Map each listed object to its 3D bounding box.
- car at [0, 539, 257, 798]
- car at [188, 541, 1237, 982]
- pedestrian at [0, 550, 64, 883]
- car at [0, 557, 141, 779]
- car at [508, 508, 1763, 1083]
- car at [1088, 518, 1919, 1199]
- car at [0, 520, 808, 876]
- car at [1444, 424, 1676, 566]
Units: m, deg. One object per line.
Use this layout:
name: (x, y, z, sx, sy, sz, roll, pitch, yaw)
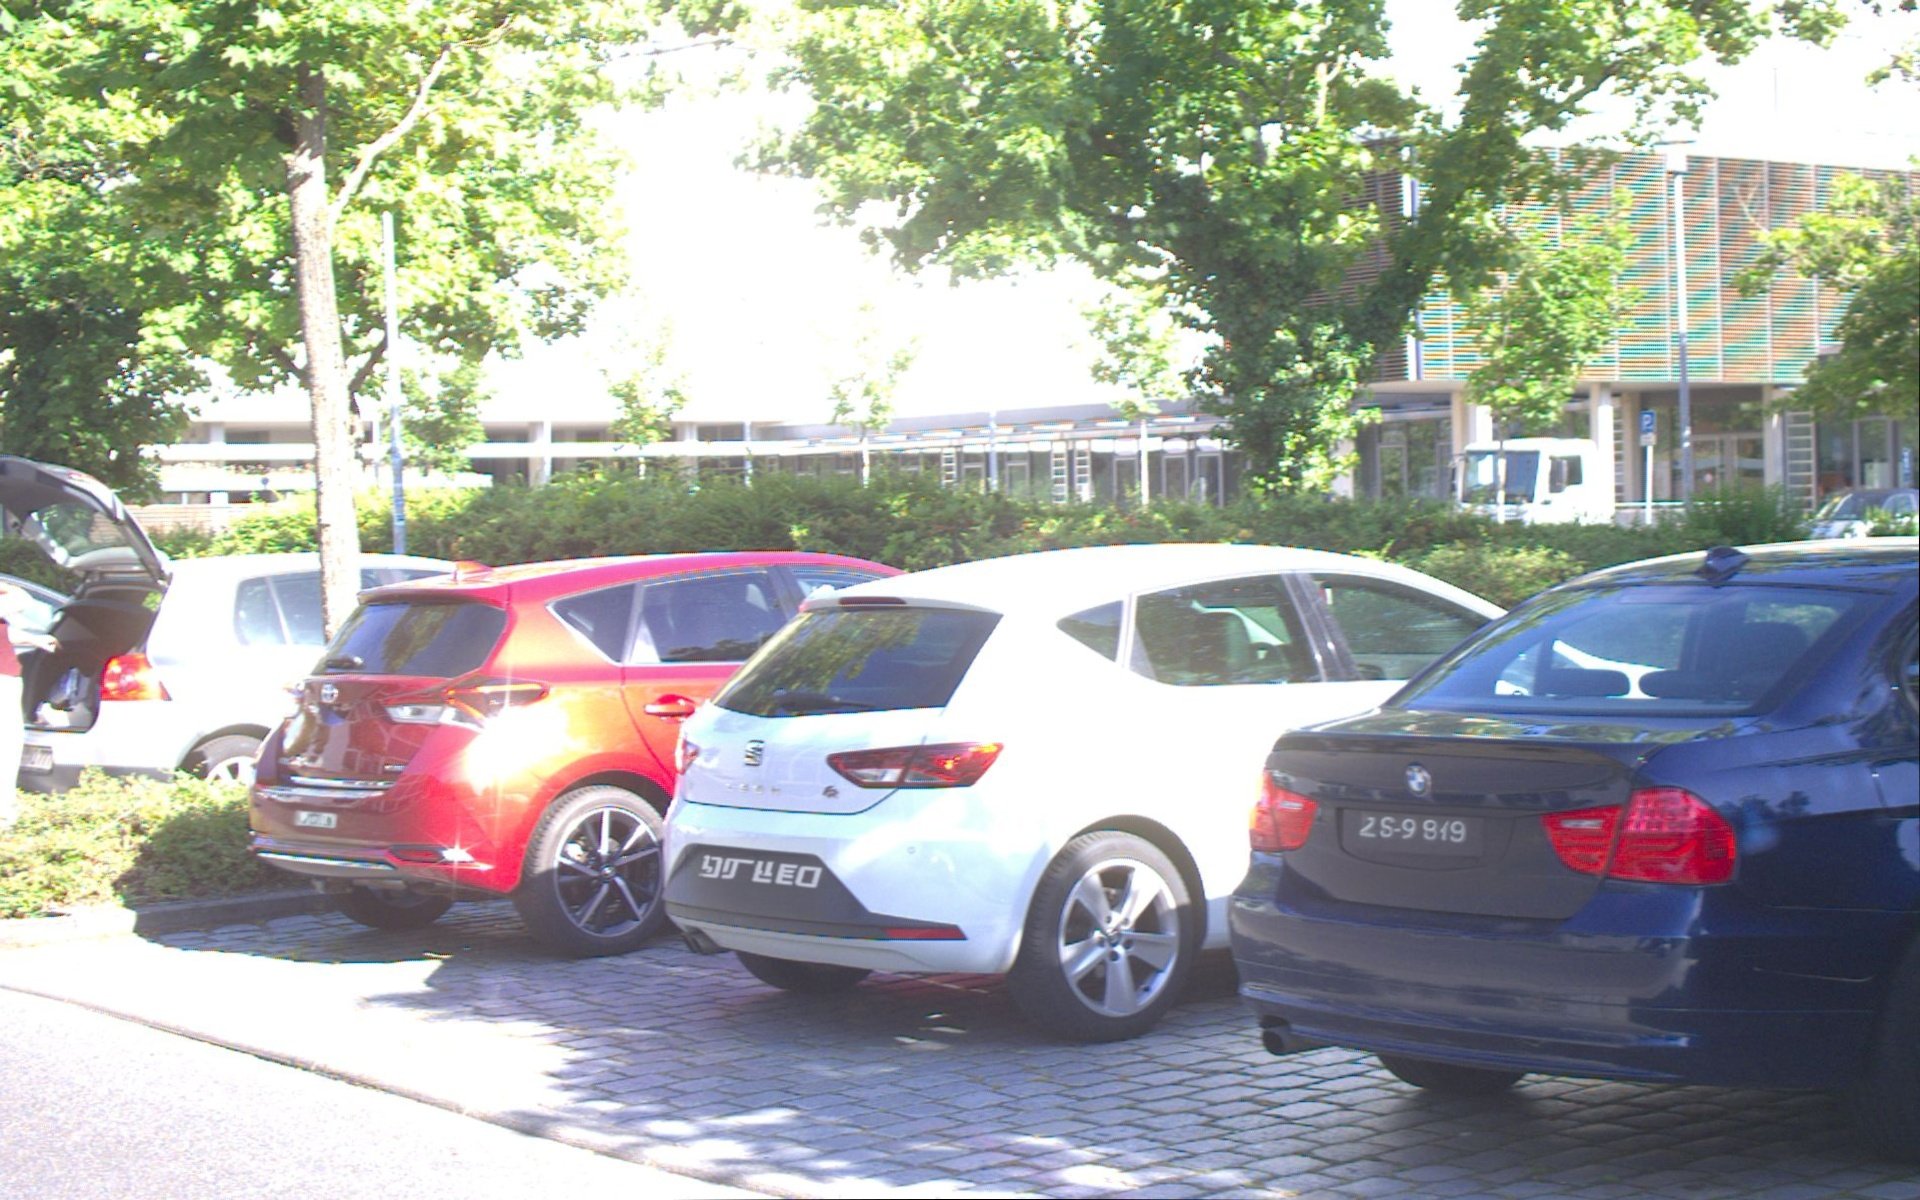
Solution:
car: (-6.724, 0.472, 21.440, 4.187, 1.514, 1.736, -4, 2, -38)
car: (-0.917, 0.555, 13.881, 3.900, 1.421, 1.672, -3, 1, -38)
pedestrian: (-4.808, 0.559, 16.720, 0.764, 1.573, 0.674, -1, 2, -7)
car: (-7.820, 0.516, 23.639, 3.900, 1.463, 1.621, -3, 3, -38)
car: (0.679, 0.506, 11.490, 3.901, 1.431, 1.808, -4, 3, -37)
car: (2.552, 0.522, 9.157, 4.156, 1.401, 1.829, -4, 3, -37)
car: (-2.896, 0.422, 18.094, 3.900, 1.572, 1.679, -3, 3, -38)
car: (11.094, -1.937, 63.538, 3.634, 2.482, 2.232, -3, 2, -34)
